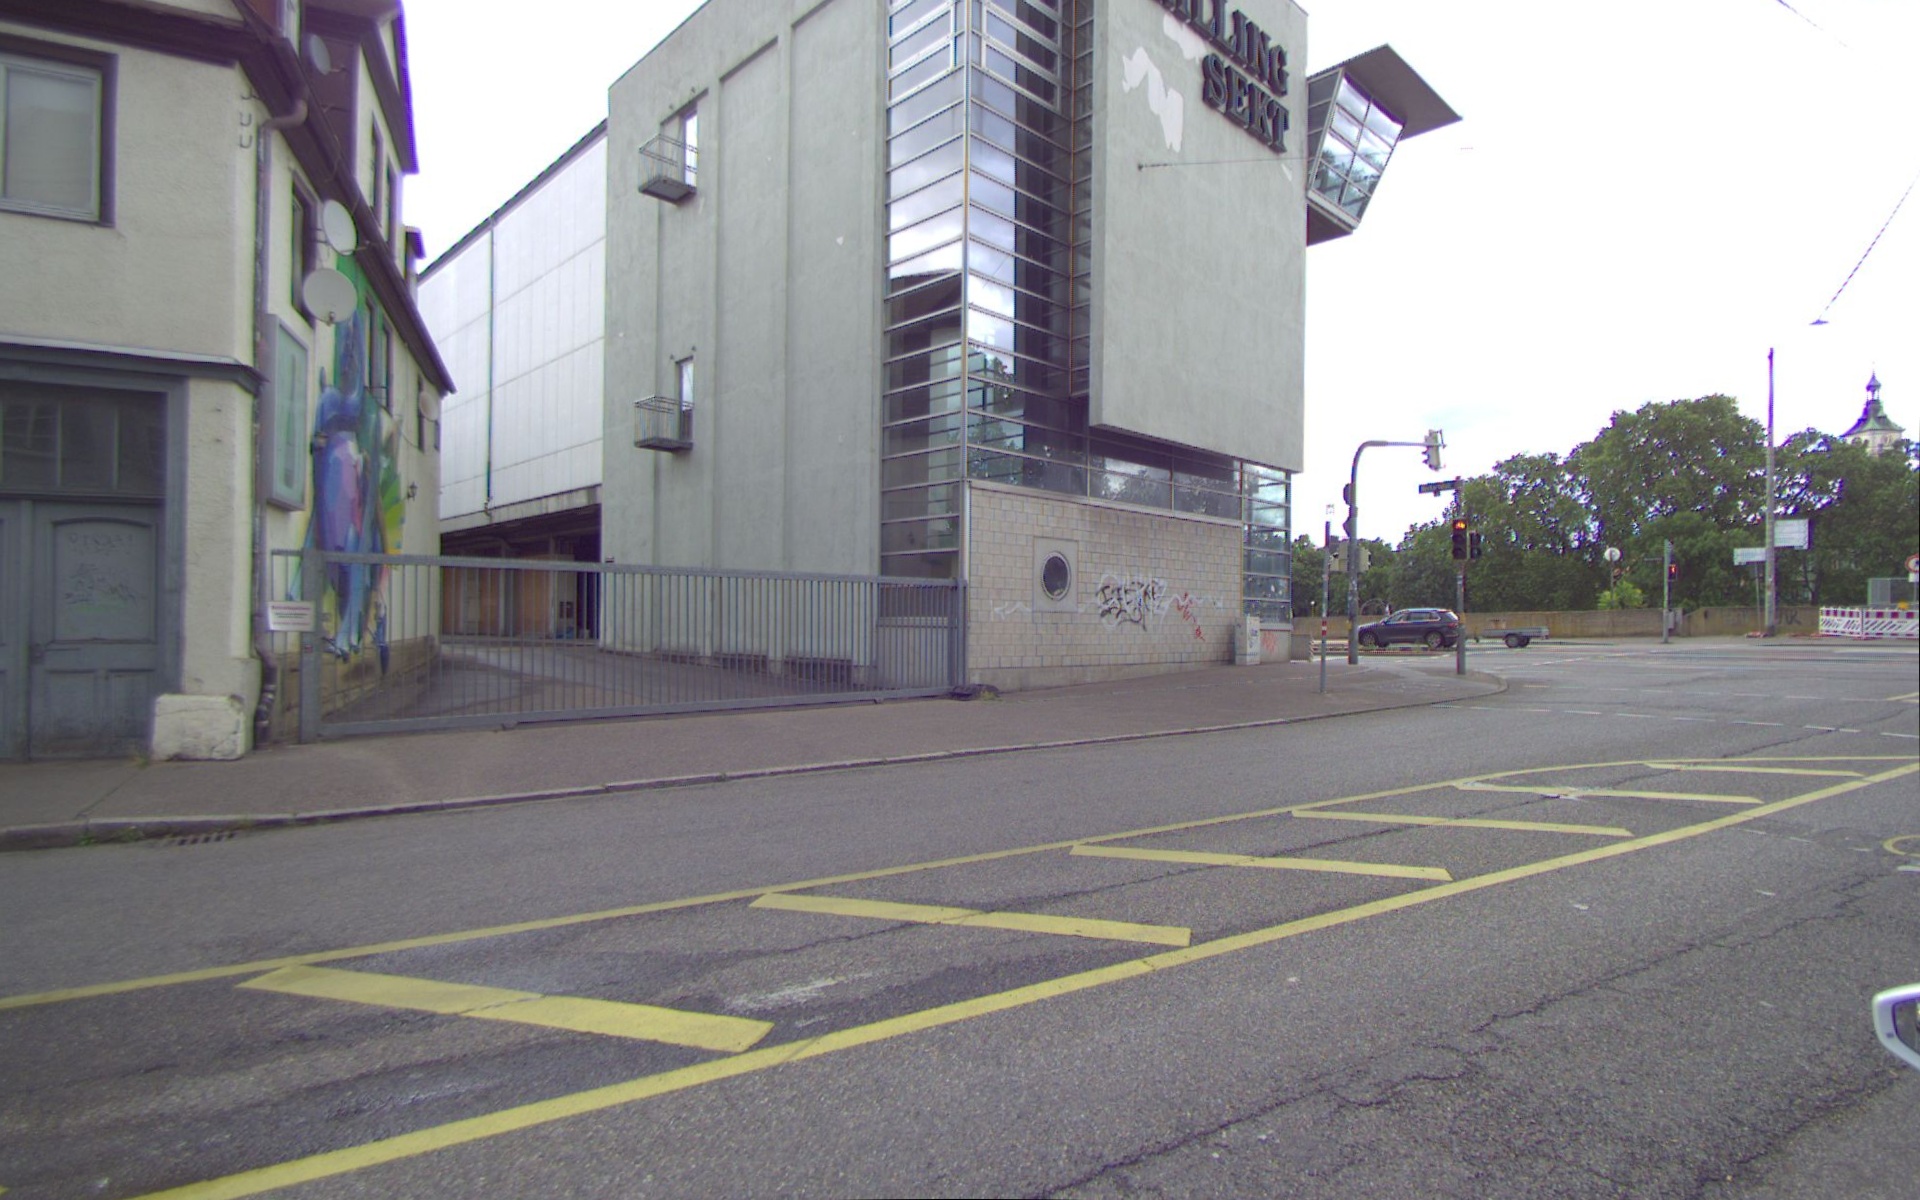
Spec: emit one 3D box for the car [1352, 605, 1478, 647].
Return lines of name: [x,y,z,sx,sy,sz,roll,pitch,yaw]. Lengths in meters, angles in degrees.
car: [19.088,1.131,42.258,4.469,1.655,1.990,-2,-3,42]

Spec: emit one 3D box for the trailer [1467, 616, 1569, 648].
trailer: [22.059,1.247,39.735,3.166,1.173,1.989,-2,-1,43]
